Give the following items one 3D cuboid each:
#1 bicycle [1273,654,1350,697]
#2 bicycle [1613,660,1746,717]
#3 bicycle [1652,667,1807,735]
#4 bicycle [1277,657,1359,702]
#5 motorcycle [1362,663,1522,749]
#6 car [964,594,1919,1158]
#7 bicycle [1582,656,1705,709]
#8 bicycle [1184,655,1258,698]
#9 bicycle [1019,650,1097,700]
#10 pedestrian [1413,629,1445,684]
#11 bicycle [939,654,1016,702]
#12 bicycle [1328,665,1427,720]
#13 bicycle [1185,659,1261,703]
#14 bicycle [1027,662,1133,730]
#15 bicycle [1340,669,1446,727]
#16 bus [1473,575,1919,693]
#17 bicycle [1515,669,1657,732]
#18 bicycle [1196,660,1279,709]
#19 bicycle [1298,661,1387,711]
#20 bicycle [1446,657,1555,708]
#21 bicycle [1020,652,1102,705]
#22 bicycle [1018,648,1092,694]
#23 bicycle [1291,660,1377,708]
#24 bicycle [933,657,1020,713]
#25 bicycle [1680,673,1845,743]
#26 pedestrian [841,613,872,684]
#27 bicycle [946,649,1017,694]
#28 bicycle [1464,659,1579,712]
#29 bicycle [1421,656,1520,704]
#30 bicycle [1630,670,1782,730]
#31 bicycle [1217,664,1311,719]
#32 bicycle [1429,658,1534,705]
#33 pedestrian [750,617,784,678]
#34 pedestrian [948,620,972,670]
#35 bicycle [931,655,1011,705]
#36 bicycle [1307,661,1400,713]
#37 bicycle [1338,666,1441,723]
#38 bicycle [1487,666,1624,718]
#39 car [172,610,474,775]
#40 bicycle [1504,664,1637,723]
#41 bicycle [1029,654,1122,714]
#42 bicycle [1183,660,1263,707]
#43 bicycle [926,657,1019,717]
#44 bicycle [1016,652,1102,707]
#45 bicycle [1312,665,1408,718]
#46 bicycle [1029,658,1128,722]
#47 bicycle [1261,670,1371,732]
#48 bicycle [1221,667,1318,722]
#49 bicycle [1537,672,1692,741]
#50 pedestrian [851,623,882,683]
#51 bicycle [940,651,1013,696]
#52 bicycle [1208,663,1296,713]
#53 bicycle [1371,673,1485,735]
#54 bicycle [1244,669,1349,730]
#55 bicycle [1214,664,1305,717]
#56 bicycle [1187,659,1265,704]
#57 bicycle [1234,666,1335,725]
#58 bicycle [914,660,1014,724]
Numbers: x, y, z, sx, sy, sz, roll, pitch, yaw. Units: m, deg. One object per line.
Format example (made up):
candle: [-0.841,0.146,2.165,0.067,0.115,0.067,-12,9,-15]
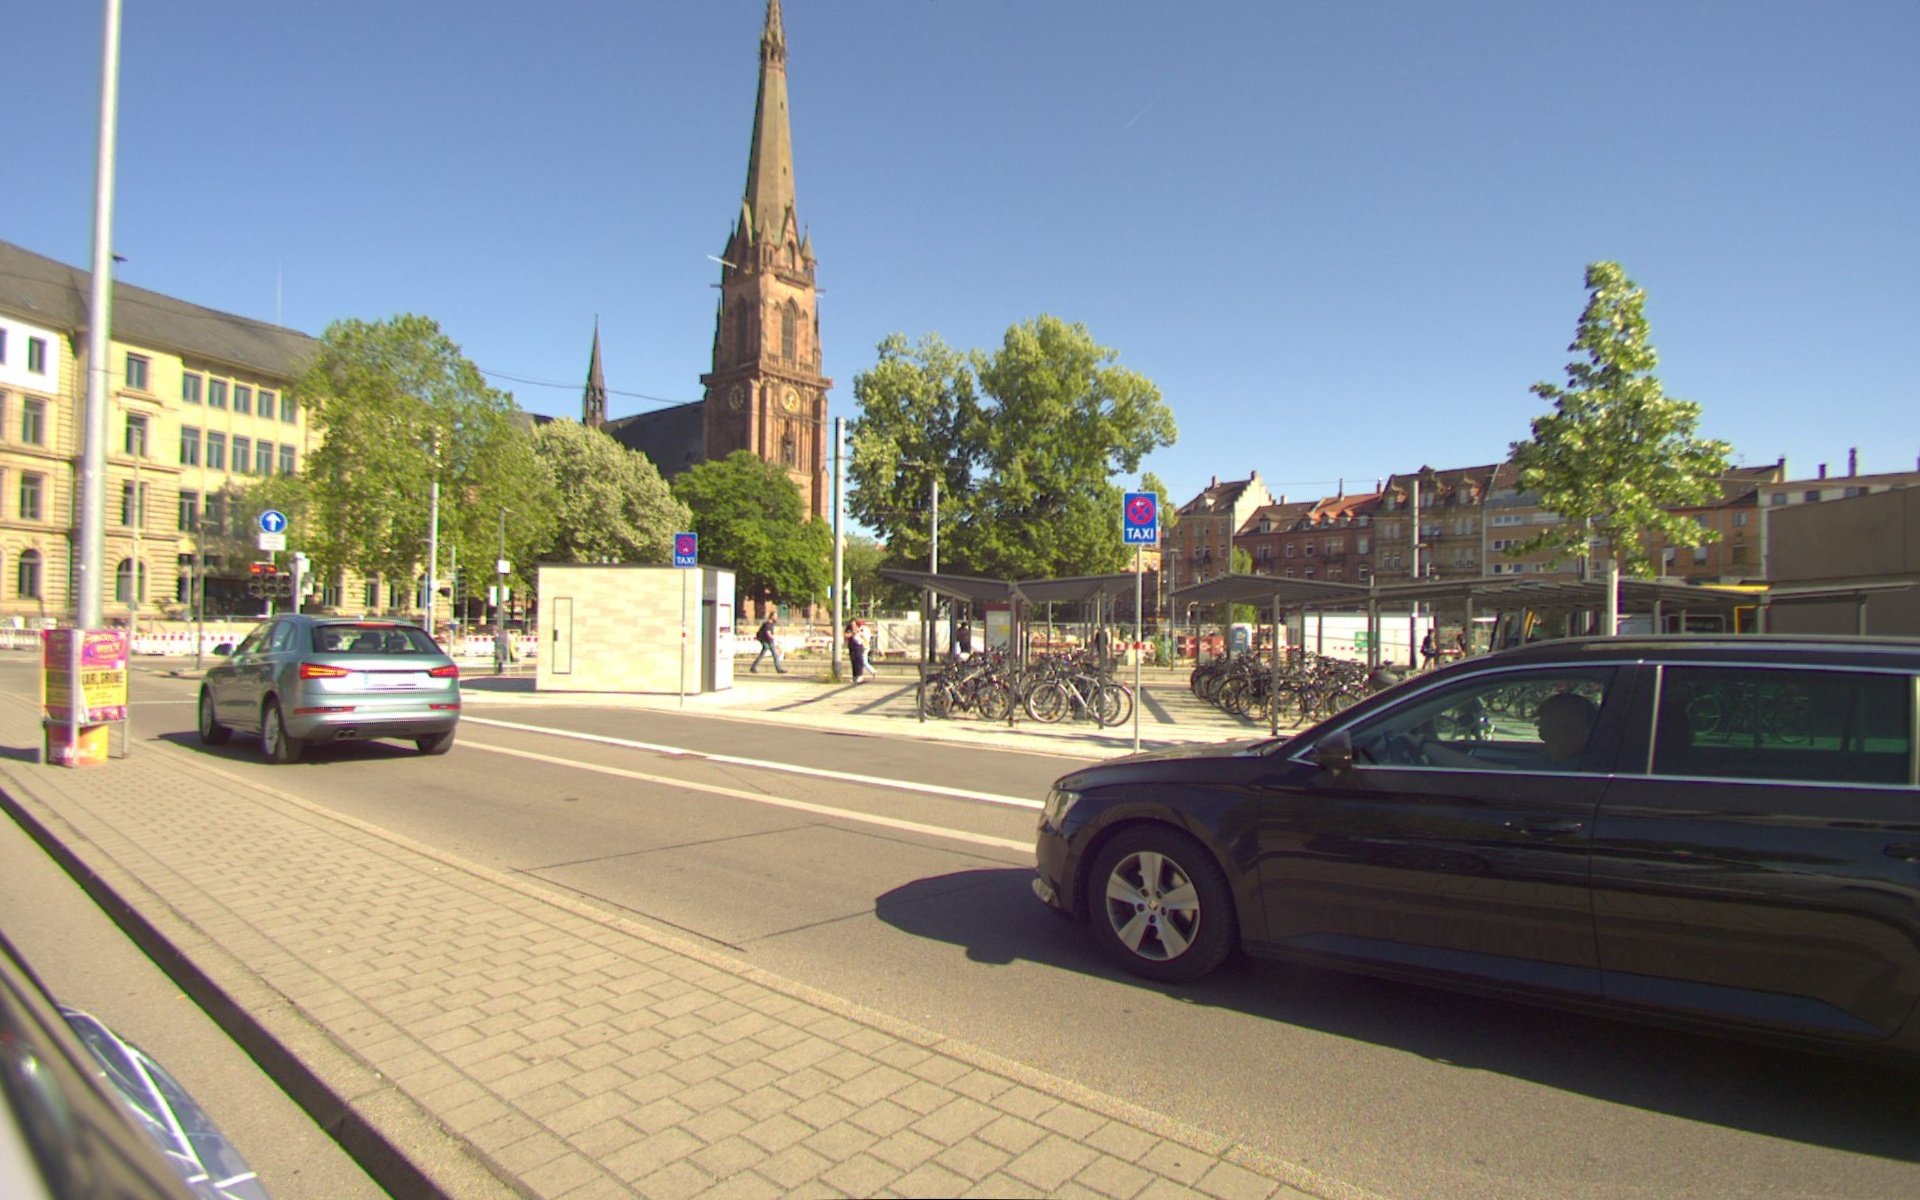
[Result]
bicycle: [8.290,1.786,23.917,1.661,0.980,0.406,-1,0,3]
bicycle: [13.851,1.700,19.527,2.048,1.045,0.533,-1,0,8]
bicycle: [12.987,1.697,17.118,2.030,1.087,0.604,-1,0,7]
bicycle: [8.072,1.789,22.840,1.661,0.980,0.406,-1,0,3]
motorcycle: [7.191,1.571,15.162,2.059,1.228,0.569,-1,-2,3]
car: [2.487,0.807,3.939,4.774,1.516,1.798,-1,-4,35]
bicycle: [14.077,1.697,20.879,2.048,1.045,0.533,-1,0,8]
bicycle: [6.255,1.837,24.314,1.661,0.980,0.406,1,-5,3]
bicycle: [2.271,1.732,23.501,1.755,1.083,0.406,1,0,6]
pedestrian: [16.775,2.014,36.237,0.793,1.931,0.769,0,-2,4]
bicycle: [0.383,1.705,22.287,1.663,1.006,0.406,0,0,8]
bicycle: [7.841,1.731,19.015,1.661,0.980,0.406,-1,0,3]
bicycle: [6.136,1.882,23.626,1.661,0.980,0.406,1,-5,3]
bicycle: [2.020,1.606,17.095,1.753,1.083,0.406,1,-3,6]
bicycle: [7.642,1.726,17.894,1.661,0.980,0.406,-1,0,3]
bus: [22.166,0.935,28.624,13.462,3.095,2.859,0,-2,6]
bicycle: [10.886,1.740,17.653,2.048,1.045,0.533,-1,0,8]
bicycle: [5.924,1.806,21.642,1.661,0.980,0.406,1,-5,3]
bicycle: [7.860,1.761,20.828,1.661,0.980,0.406,-1,0,3]
bicycle: [11.865,1.802,22.258,2.048,1.045,0.533,-1,2,8]
bicycle: [2.192,1.695,22.031,1.755,1.083,0.406,1,0,6]
bicycle: [2.313,1.724,24.680,1.755,1.083,0.406,1,0,6]
bicycle: [7.987,1.790,21.625,1.661,0.980,0.406,-1,0,3]
bicycle: [0.327,1.664,19.948,1.663,1.006,0.406,2,0,8]
bicycle: [12.765,1.715,16.140,2.048,1.045,0.533,-1,0,8]
pedestrian: [-2.779,1.297,27.209,0.614,1.874,0.699,0,-2,14]
bicycle: [0.516,1.702,24.190,1.663,1.006,0.406,0,0,8]
bicycle: [11.775,1.796,21.267,2.048,1.045,0.533,-1,2,8]
bicycle: [12.299,1.920,24.431,2.048,1.045,0.533,1,3,8]
bicycle: [13.478,1.798,18.331,2.117,1.005,0.690,-1,0,7]
bicycle: [5.813,1.738,19.378,1.661,0.980,0.406,1,0,3]
bicycle: [12.030,1.880,23.376,2.048,1.045,0.533,-1,-4,8]
pedestrian: [-5.603,1.371,29.416,0.823,1.740,0.620,0,-2,4]
pedestrian: [0.013,1.730,38.973,0.610,1.874,0.703,2,-2,-39]
bicycle: [0.228,1.676,21.407,1.663,1.006,0.406,0,0,8]
bicycle: [7.856,1.731,20.231,1.661,0.980,0.406,-1,0,3]
bicycle: [7.822,1.723,18.462,1.661,0.980,0.406,-1,0,3]
bicycle: [11.613,1.799,19.792,2.208,0.951,0.685,-1,0,7]
car: [-7.571,0.977,11.865,4.255,1.594,1.769,-1,-4,41]
bicycle: [11.320,1.734,18.814,2.048,1.045,0.533,-1,0,8]
bicycle: [2.234,1.621,19.585,1.755,1.083,0.406,1,0,6]
bicycle: [5.785,1.838,22.299,1.661,0.980,0.406,1,-5,3]
bicycle: [0.230,1.597,18.604,1.663,1.006,0.406,2,0,8]
bicycle: [2.051,1.643,20.976,1.755,1.083,0.406,1,0,6]
bicycle: [7.715,1.764,19.531,1.661,0.980,0.406,-1,0,3]
bicycle: [2.138,1.617,18.340,1.753,1.083,0.406,1,0,6]
bicycle: [5.932,1.685,16.892,1.661,0.980,0.406,-1,0,3]
bicycle: [5.727,1.751,18.770,1.661,0.980,0.406,-1,0,3]
bicycle: [10.571,1.712,16.391,2.048,1.045,0.533,-1,0,8]
pedestrian: [-2.582,1.466,28.005,0.695,1.635,0.618,0,-2,14]
bicycle: [0.392,1.702,23.665,1.663,1.006,0.406,0,0,8]
bicycle: [5.924,1.786,20.566,1.661,0.980,0.406,1,-5,3]
bicycle: [7.766,1.724,16.824,1.661,0.980,0.406,-1,0,3]
bicycle: [5.792,1.710,17.465,1.661,0.980,0.406,1,0,3]
bicycle: [5.900,1.781,19.961,1.661,0.980,0.406,1,0,3]
bicycle: [6.052,1.860,23.054,1.661,0.980,0.406,1,-5,3]
bicycle: [5.814,1.710,18.191,1.661,0.980,0.406,1,0,3]
bicycle: [0.066,1.574,17.385,1.663,1.006,0.406,2,0,8]
